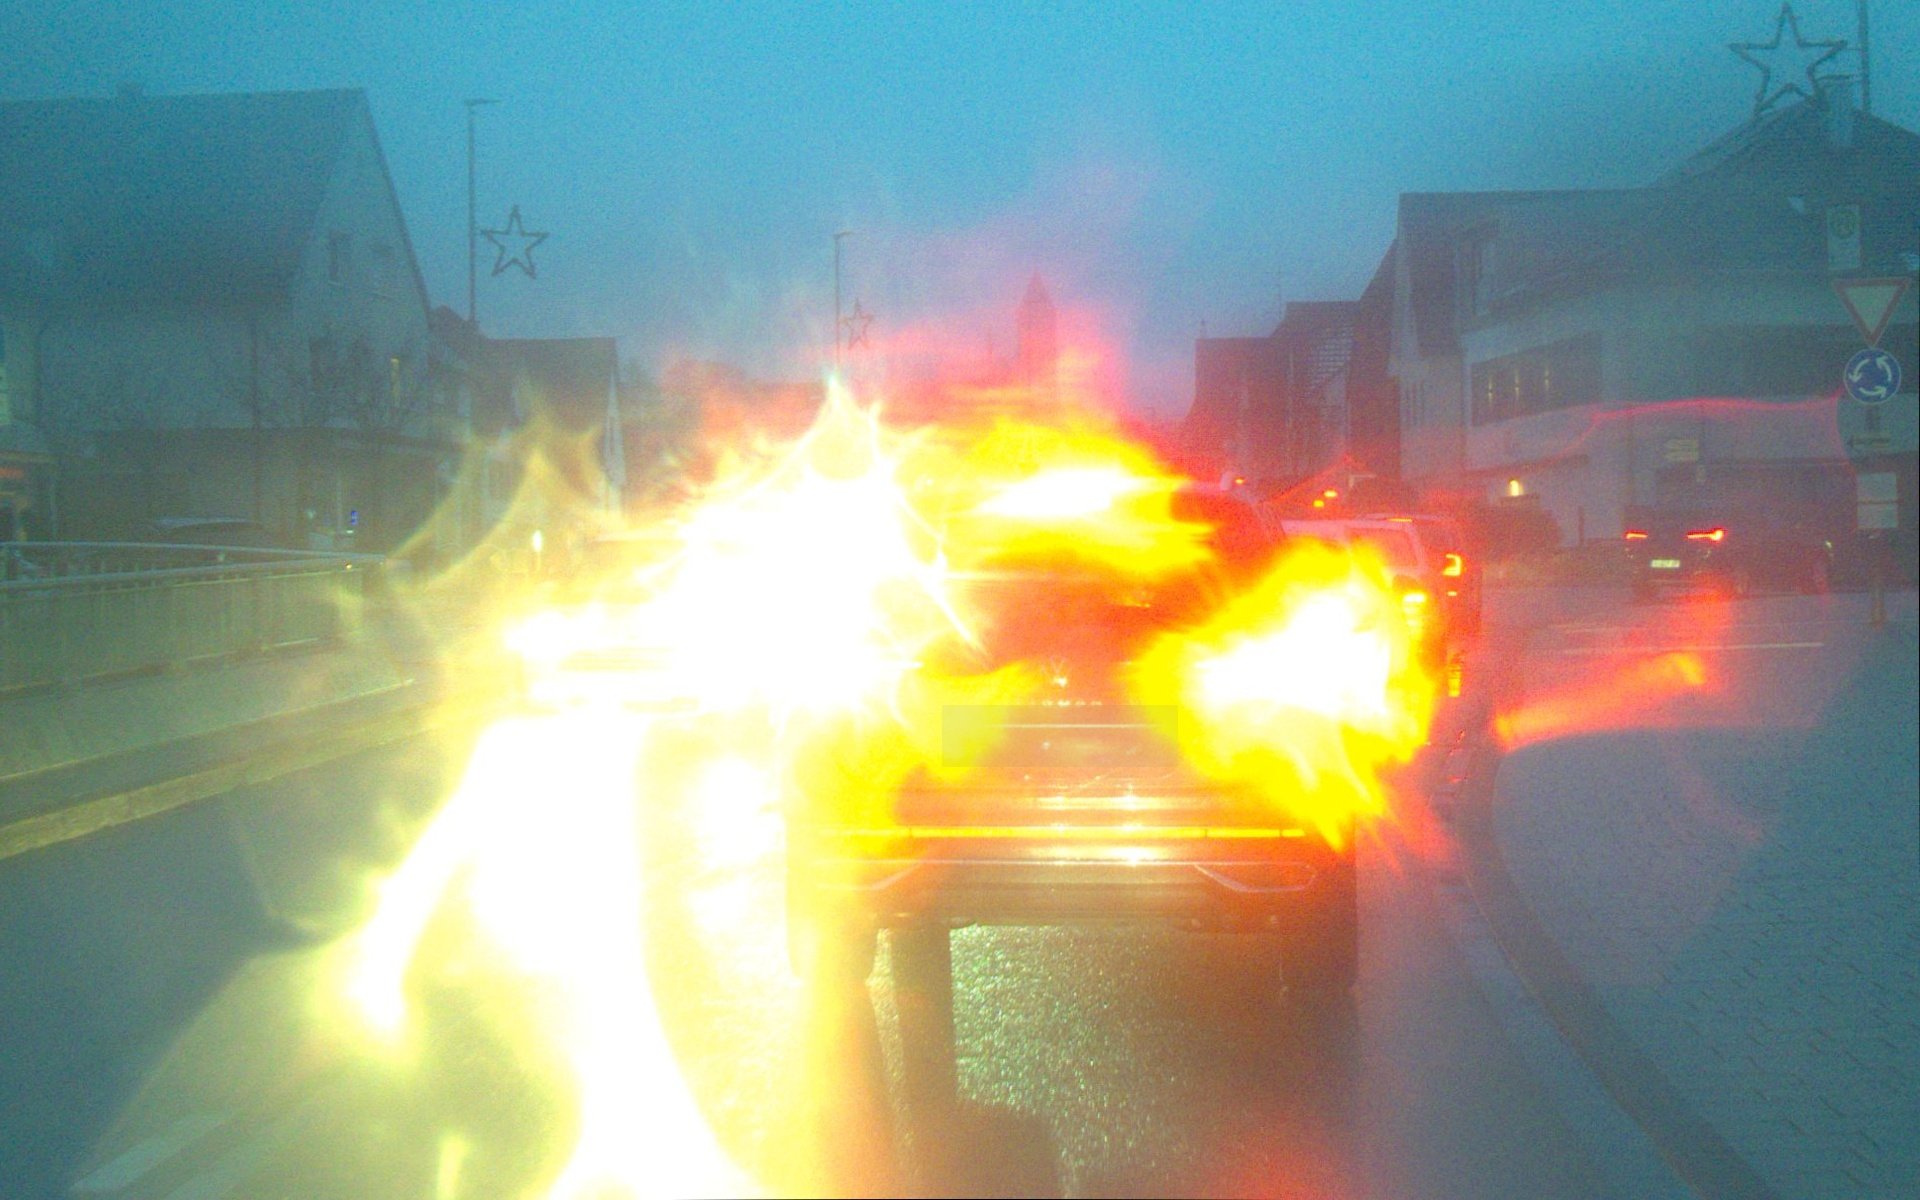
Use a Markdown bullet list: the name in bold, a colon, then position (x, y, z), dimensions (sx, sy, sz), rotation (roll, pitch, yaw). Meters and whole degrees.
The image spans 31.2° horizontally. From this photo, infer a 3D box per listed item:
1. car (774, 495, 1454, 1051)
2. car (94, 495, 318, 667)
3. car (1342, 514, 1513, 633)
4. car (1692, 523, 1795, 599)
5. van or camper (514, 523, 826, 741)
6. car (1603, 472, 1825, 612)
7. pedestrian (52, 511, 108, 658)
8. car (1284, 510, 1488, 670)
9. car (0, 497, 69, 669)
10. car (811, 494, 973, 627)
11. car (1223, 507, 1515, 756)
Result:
- **car**: position (0.627, 0.435, 12.166), dimensions (1.965, 1.589, 4.313), rotation (1, 2, 5)
- **car**: position (-9.076, -0.265, 41.155), dimensions (2.037, 1.919, 4.058), rotation (-2, 2, -20)
- **car**: position (5.822, -0.364, 43.179), dimensions (1.994, 1.387, 3.999), rotation (-1, 2, 6)
- **car**: position (16.064, -0.812, 70.610), dimensions (1.565, 1.408, 3.601), rotation (-5, 0, 6)
- **van or camper**: position (-1.924, 0.167, 23.695), dimensions (1.562, 1.351, 3.421), rotation (-1, 1, 5)
- **car**: position (12.170, -0.962, 55.278), dimensions (2.161, 1.984, 4.492), rotation (-4, 1, 29)
- **pedestrian**: position (-10.418, -0.190, 40.697), dimensions (0.495, 1.695, 0.713), rotation (-3, 2, -20)
- **car**: position (4.090, -0.145, 33.195), dimensions (1.815, 1.407, 3.999), rotation (1, 2, 7)
- **car**: position (-11.755, -0.214, 40.422), dimensions (2.037, 1.919, 4.058), rotation (-2, 2, -20)
- **car**: position (-0.845, -0.553, 45.236), dimensions (1.737, 1.647, 4.000), rotation (-1, 2, 4)
- **car**: position (2.631, 0.142, 22.047), dimensions (1.683, 1.448, 3.999), rotation (0, 1, 7)
